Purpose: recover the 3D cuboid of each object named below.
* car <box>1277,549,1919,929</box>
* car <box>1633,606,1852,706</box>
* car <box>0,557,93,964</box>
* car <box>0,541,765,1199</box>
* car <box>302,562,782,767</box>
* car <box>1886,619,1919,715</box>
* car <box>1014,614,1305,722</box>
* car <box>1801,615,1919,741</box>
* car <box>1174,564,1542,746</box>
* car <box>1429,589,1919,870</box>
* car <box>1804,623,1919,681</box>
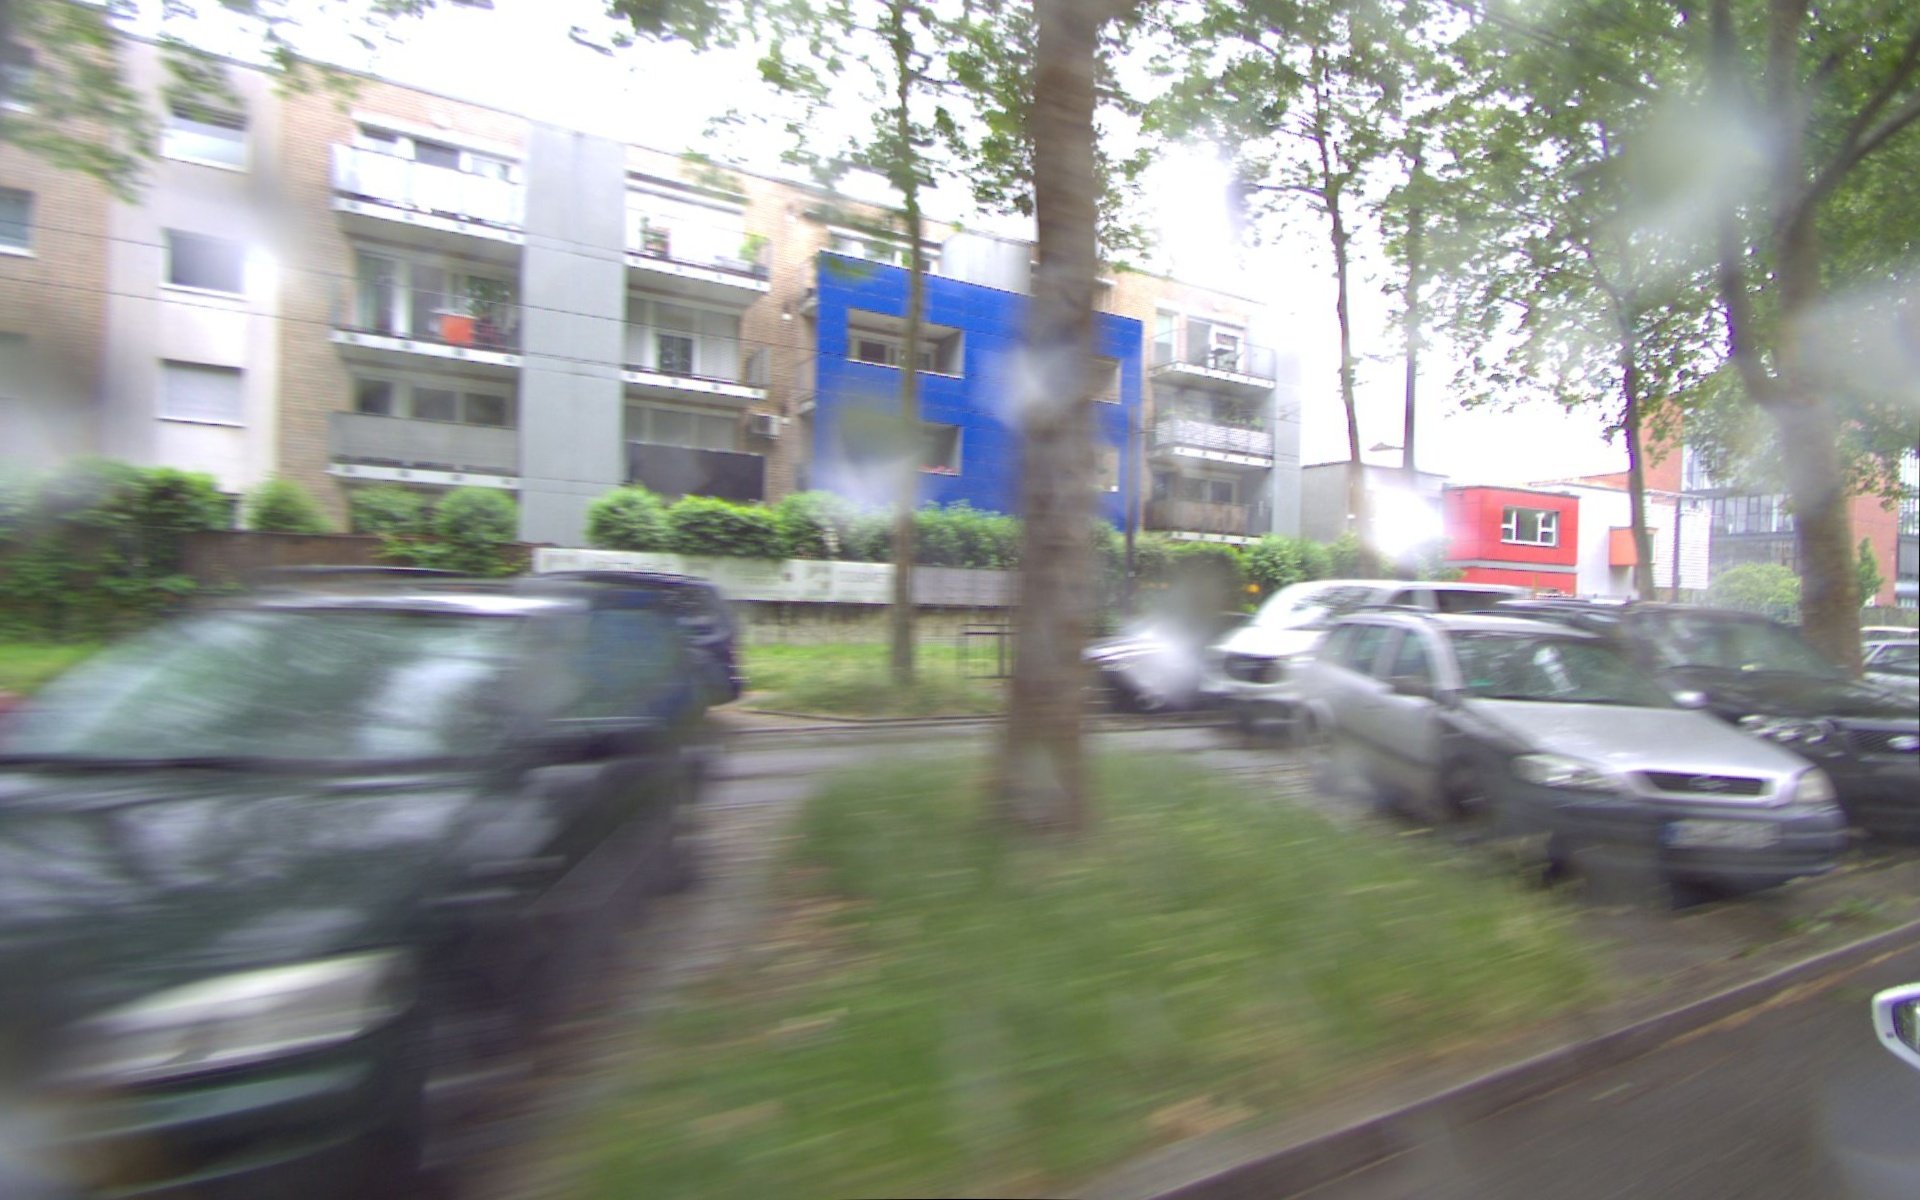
[{"bbox_3d":[3.682,0.697,6.677,1.835,1.667,4.420,1,-2,1],"label":"car"},{"bbox_3d":[14.878,1.006,19.073,4.094,1.662,1.982,2,1,-32],"label":"car"},{"bbox_3d":[-4.383,0.591,2.248,1.709,1.499,3.653,1,1,0],"label":"car"},{"bbox_3d":[-1.864,0.641,3.486,1.710,1.499,4.229,1,1,-3],"label":"car"},{"bbox_3d":[-4.292,0.578,10.614,4.372,1.763,1.894,1,0,-32],"label":"car"},{"bbox_3d":[15.595,1.057,13.746,1.714,1.456,4.314,1,1,-3],"label":"car"},{"bbox_3d":[3.078,0.916,15.232,4.214,1.408,1.981,1,0,-34],"label":"car"},{"bbox_3d":[12.836,1.004,12.118,1.715,1.519,4.065,1,1,-6],"label":"car"},{"bbox_3d":[5.433,0.640,13.465,5.104,2.026,2.025,1,0,-34],"label":"car"},{"bbox_3d":[5.909,0.813,8.266,1.892,1.682,4.417,1,-1,-2],"label":"car"},{"bbox_3d":[26.904,1.508,29.526,3.953,1.528,1.984,2,-1,-30],"label":"car"}]
